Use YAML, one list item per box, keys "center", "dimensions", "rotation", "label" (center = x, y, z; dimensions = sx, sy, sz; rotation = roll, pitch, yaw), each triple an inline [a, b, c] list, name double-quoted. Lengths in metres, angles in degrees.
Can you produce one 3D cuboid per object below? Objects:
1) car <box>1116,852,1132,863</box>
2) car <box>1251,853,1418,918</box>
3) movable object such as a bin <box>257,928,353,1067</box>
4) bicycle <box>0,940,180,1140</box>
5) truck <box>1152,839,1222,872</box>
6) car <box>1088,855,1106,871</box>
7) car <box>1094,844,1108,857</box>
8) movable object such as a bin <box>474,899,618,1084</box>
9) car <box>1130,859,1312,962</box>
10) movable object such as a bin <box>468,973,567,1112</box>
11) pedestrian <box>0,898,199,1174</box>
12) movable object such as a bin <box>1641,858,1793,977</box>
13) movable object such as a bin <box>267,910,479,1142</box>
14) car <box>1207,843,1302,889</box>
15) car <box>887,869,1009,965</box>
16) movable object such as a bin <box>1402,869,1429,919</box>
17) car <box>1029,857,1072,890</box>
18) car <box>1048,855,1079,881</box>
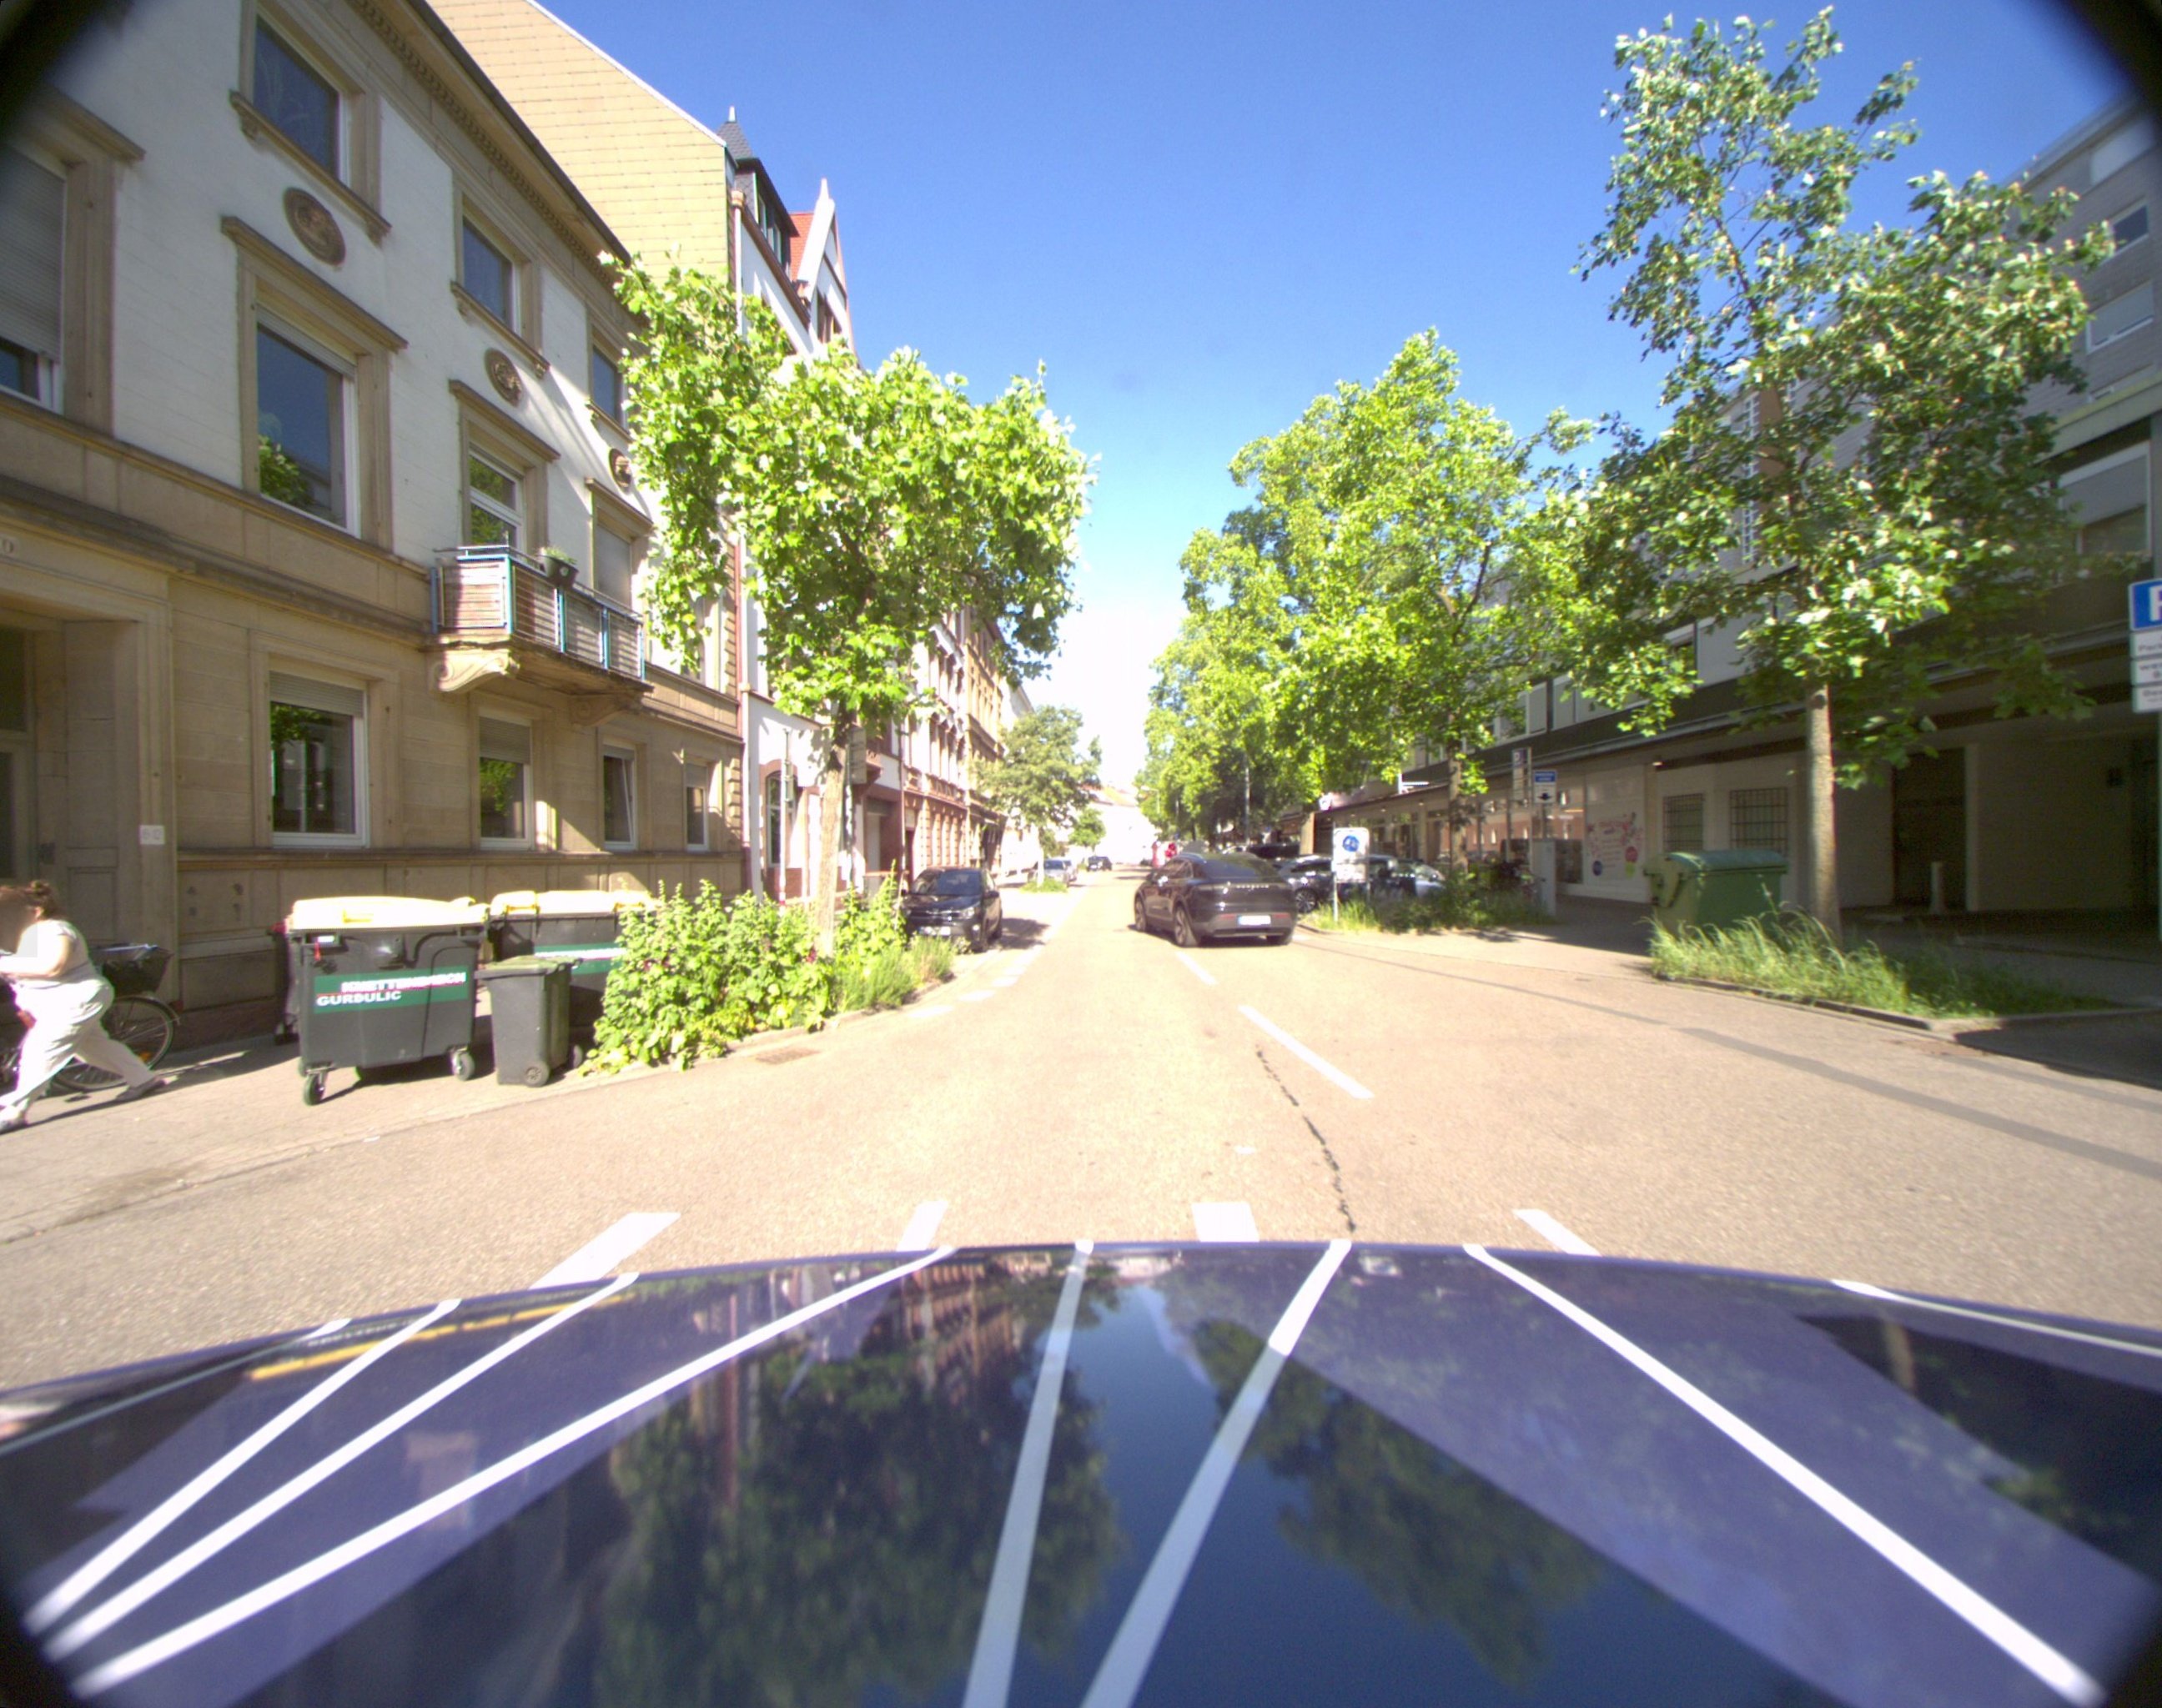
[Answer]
- center: [8.409, 0.622, 147.409]
  dimensions: [1.996, 2.002, 4.006]
  rotation: [-1, 0, 20]
  label: "car"
- center: [6.942, 0.836, 21.150]
  dimensions: [3.996, 1.665, 2.000]
  rotation: [-1, 0, 3]
  label: "car"
- center: [-6.910, 1.243, 6.779]
  dimensions: [0.615, 1.075, 0.568]
  rotation: [3, 3, 44]
  label: "movable object such as a bin"
- center: [-6.837, 1.194, 4.657]
  dimensions: [0.402, 1.126, 1.792]
  rotation: [-1, 0, 3]
  label: "bicycle"
- center: [8.636, 0.128, 62.223]
  dimensions: [5.321, 2.581, 1.998]
  rotation: [-1, 0, -8]
  label: "truck"
- center: [1.576, 0.876, 75.073]
  dimensions: [1.653, 1.447, 3.290]
  rotation: [-1, 0, 3]
  label: "car"
- center: [3.085, -0.532, 117.422]
  dimensions: [1.998, 2.002, 4.001]
  rotation: [-1, 0, 3]
  label: "car"
- center: [-4.677, 1.125, 6.673]
  dimensions: [0.960, 1.341, 1.066]
  rotation: [0, 2, -36]
  label: "movable object such as a bin"
- center: [2.385, 0.909, 14.202]
  dimensions: [1.996, 1.598, 4.258]
  rotation: [-1, 0, -9]
  label: "car"
- center: [-4.203, 1.389, 5.693]
  dimensions: [0.401, 0.916, 0.484]
  rotation: [1, 2, -6]
  label: "movable object such as a bin"
- center: [-6.607, 1.076, 4.843]
  dimensions: [0.825, 1.529, 0.947]
  rotation: [-1, 1, 2]
  label: "pedestrian"
- center: [8.665, 0.829, 10.415]
  dimensions: [1.246, 1.536, 1.019]
  rotation: [-1, 1, 7]
  label: "movable object such as a bin"
- center: [-5.213, 1.152, 5.612]
  dimensions: [1.212, 1.318, 1.052]
  rotation: [3, 2, 44]
  label: "movable object such as a bin"
- center: [7.989, 0.520, 35.236]
  dimensions: [3.996, 2.020, 2.000]
  rotation: [-1, 0, 3]
  label: "car"
- center: [-2.335, 1.067, 14.119]
  dimensions: [1.551, 1.483, 3.352]
  rotation: [-1, 0, 2]
  label: "car"
- center: [8.410, 0.998, 19.110]
  dimensions: [0.488, 1.218, 0.410]
  rotation: [-1, 1, 3]
  label: "movable object such as a bin"
- center: [-1.429, 0.898, 36.630]
  dimensions: [1.759, 1.492, 3.950]
  rotation: [-1, 0, 2]
  label: "car"
- center: [-1.034, 0.818, 45.939]
  dimensions: [1.653, 1.483, 3.290]
  rotation: [-1, 0, 2]
  label: "car"
